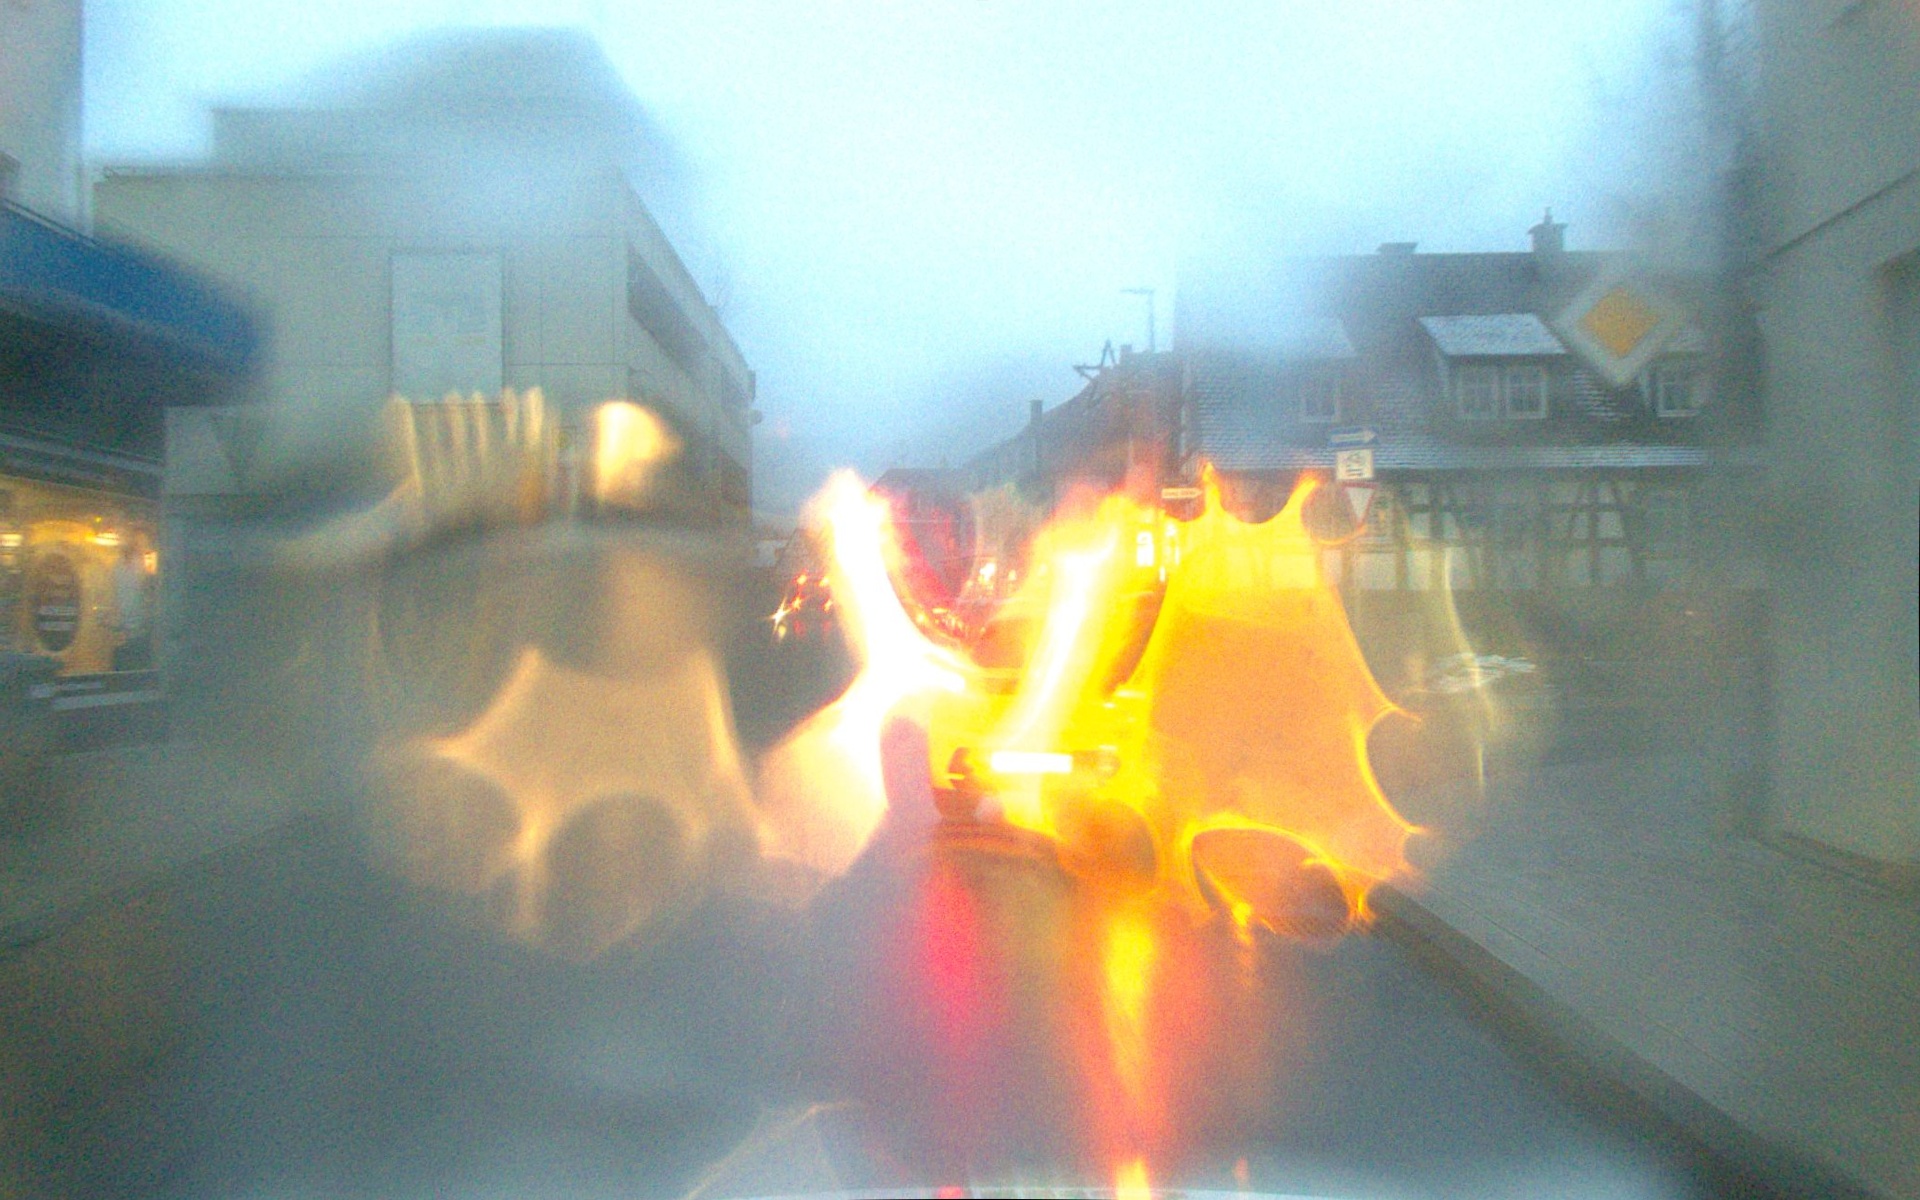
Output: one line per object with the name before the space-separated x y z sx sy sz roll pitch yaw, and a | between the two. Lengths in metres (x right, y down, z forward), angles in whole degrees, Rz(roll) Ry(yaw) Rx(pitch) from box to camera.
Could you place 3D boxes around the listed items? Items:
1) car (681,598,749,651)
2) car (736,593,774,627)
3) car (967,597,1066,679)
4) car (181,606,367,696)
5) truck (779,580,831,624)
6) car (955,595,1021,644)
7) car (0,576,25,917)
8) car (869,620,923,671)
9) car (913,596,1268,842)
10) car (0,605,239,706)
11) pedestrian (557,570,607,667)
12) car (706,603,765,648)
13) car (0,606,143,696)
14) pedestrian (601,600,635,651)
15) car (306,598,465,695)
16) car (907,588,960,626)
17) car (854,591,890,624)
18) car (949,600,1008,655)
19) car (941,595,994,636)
car | -7.563 0.730 51.422 1.582 1.559 3.927 1 0 -1
car | -10.771 0.510 86.762 1.761 1.671 3.803 1 0 -10
car | 1.083 0.725 33.434 1.697 1.484 3.998 -3 0 -2
car | -13.013 0.917 31.675 1.663 1.424 4.451 -1 2 0
truck | -11.589 0.142 123.255 2.962 3.183 7.975 1 0 -12
car | 0.881 0.613 54.163 1.787 1.448 4.605 -3 0 -3
car | -5.429 0.688 6.184 1.686 1.642 3.815 2 0 -1
car | -1.978 1.395 51.298 1.605 1.507 3.377 1 0 -2
car | 1.112 0.720 12.040 1.733 1.473 3.728 1 0 18
car | -15.727 0.971 30.994 2.059 1.526 5.046 -1 2 1
pedestrian | -7.968 0.376 34.846 0.957 1.972 1.197 -1 0 -15
car | -7.722 0.852 57.266 1.642 1.472 4.425 1 0 -3
car | -18.097 0.958 32.468 1.662 1.489 4.453 -1 2 3
pedestrian | -9.005 0.666 43.603 0.740 1.333 0.828 1 0 -4
car | -10.702 0.803 31.129 1.729 1.526 4.446 -1 2 -5
car | -1.223 0.284 73.712 1.847 1.574 4.663 -2 0 -7
car | -4.122 0.355 77.388 1.605 1.507 3.269 1 0 -3
car | 0.522 0.781 48.538 1.593 1.466 3.799 -3 0 0
car | 0.270 0.602 65.030 1.759 1.486 4.528 -3 0 -3
